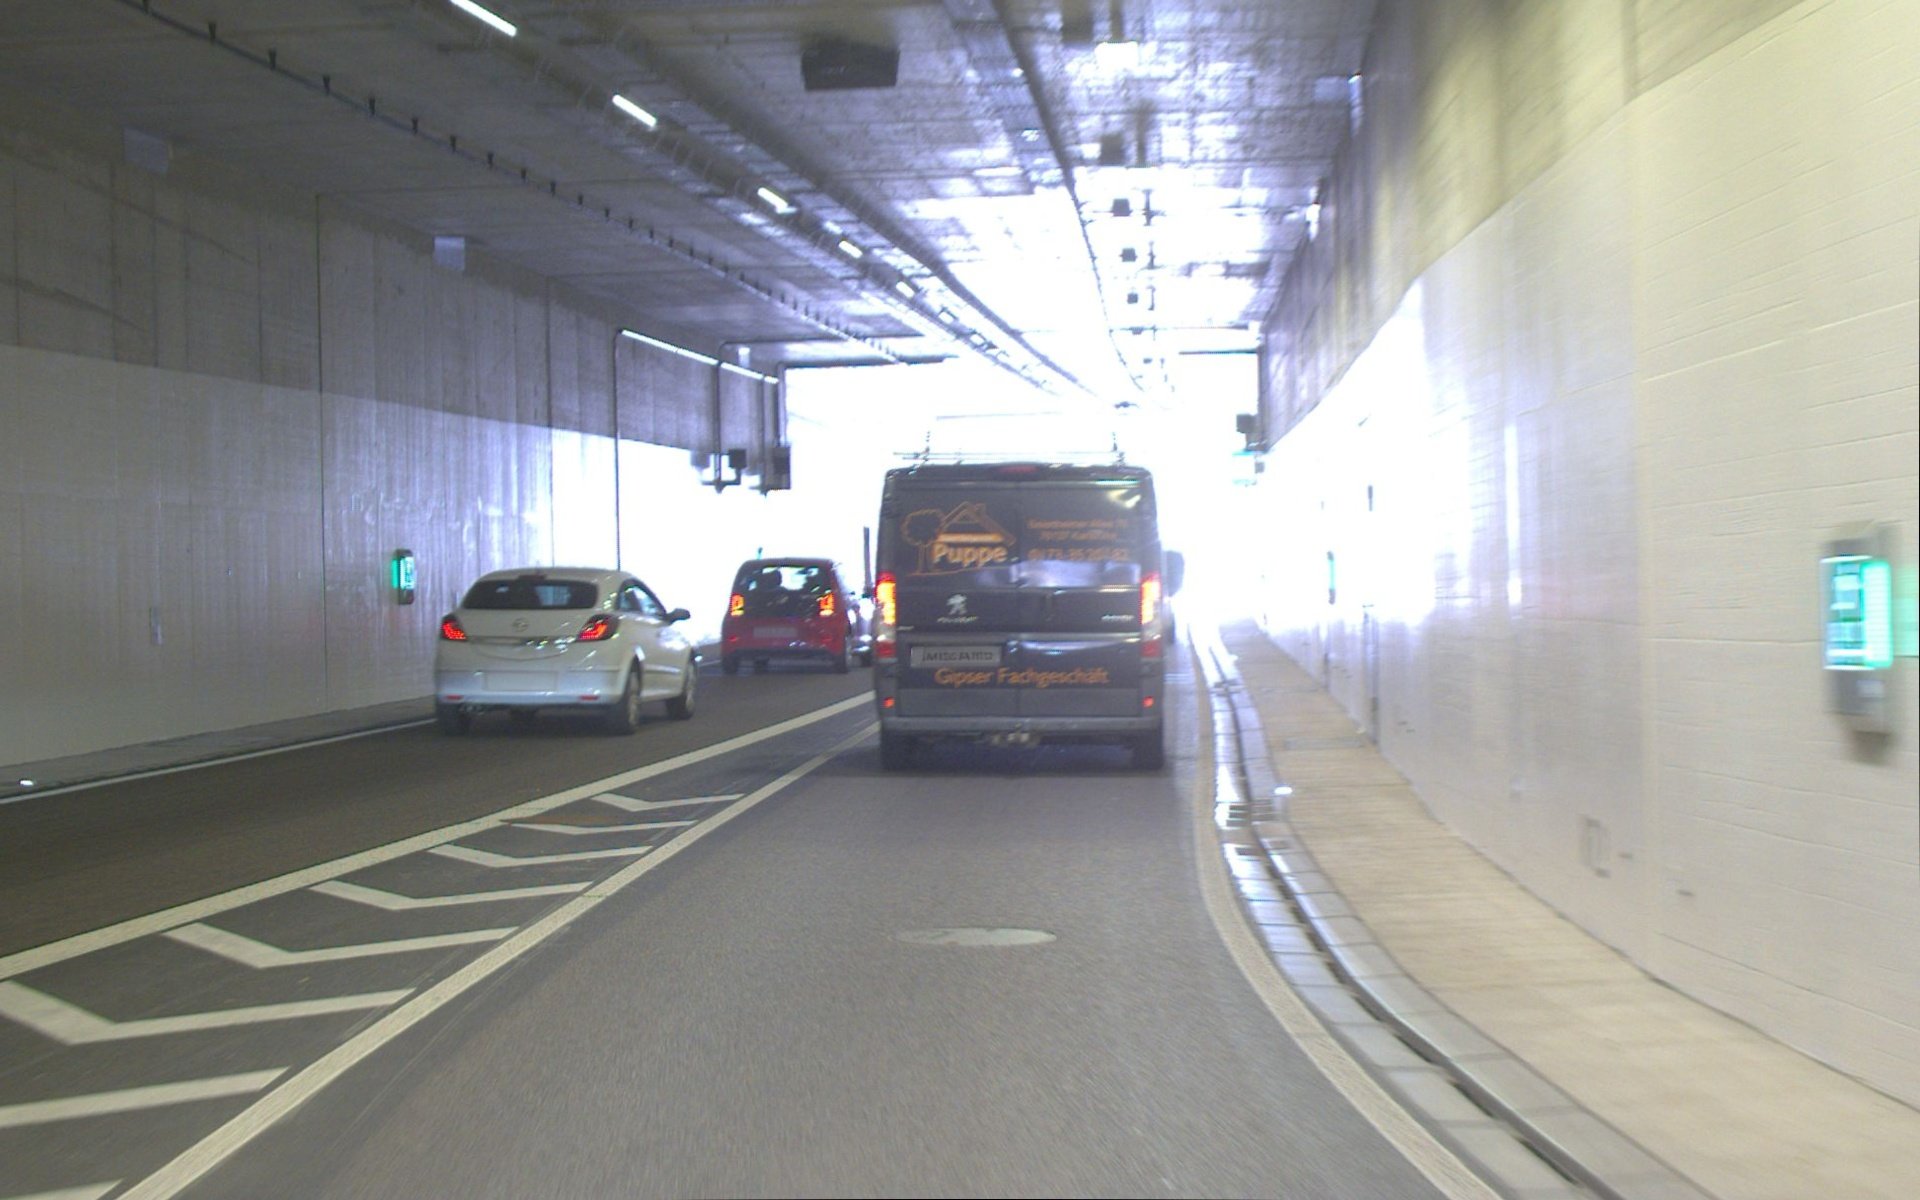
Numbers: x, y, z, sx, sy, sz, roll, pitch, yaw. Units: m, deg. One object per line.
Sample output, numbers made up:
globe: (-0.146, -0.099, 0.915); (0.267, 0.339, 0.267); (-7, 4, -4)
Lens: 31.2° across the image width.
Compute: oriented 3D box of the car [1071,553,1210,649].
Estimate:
car: (3.048, 0.007, 57.320); (2.085, 1.508, 4.635); (-1, 0, 5)

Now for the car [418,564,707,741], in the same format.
car: (-3.437, 0.412, 30.437); (1.709, 1.408, 3.973); (0, 1, 6)

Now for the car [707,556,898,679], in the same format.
car: (-1.991, 0.189, 44.606); (1.815, 1.507, 4.219); (1, 1, 7)

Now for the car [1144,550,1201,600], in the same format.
car: (7.156, -0.830, 115.989); (1.876, 1.619, 4.220); (1, -1, 3)

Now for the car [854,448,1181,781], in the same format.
car: (0.533, 0.067, 25.738); (2.159, 2.258, 4.636); (0, 1, 5)

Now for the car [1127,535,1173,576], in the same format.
car: (7.938, -1.842, 143.542); (1.876, 1.619, 4.220); (1, -1, 3)

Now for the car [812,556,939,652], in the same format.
car: (-1.428, 0.087, 59.529); (1.876, 1.576, 4.220); (1, -1, 3)
